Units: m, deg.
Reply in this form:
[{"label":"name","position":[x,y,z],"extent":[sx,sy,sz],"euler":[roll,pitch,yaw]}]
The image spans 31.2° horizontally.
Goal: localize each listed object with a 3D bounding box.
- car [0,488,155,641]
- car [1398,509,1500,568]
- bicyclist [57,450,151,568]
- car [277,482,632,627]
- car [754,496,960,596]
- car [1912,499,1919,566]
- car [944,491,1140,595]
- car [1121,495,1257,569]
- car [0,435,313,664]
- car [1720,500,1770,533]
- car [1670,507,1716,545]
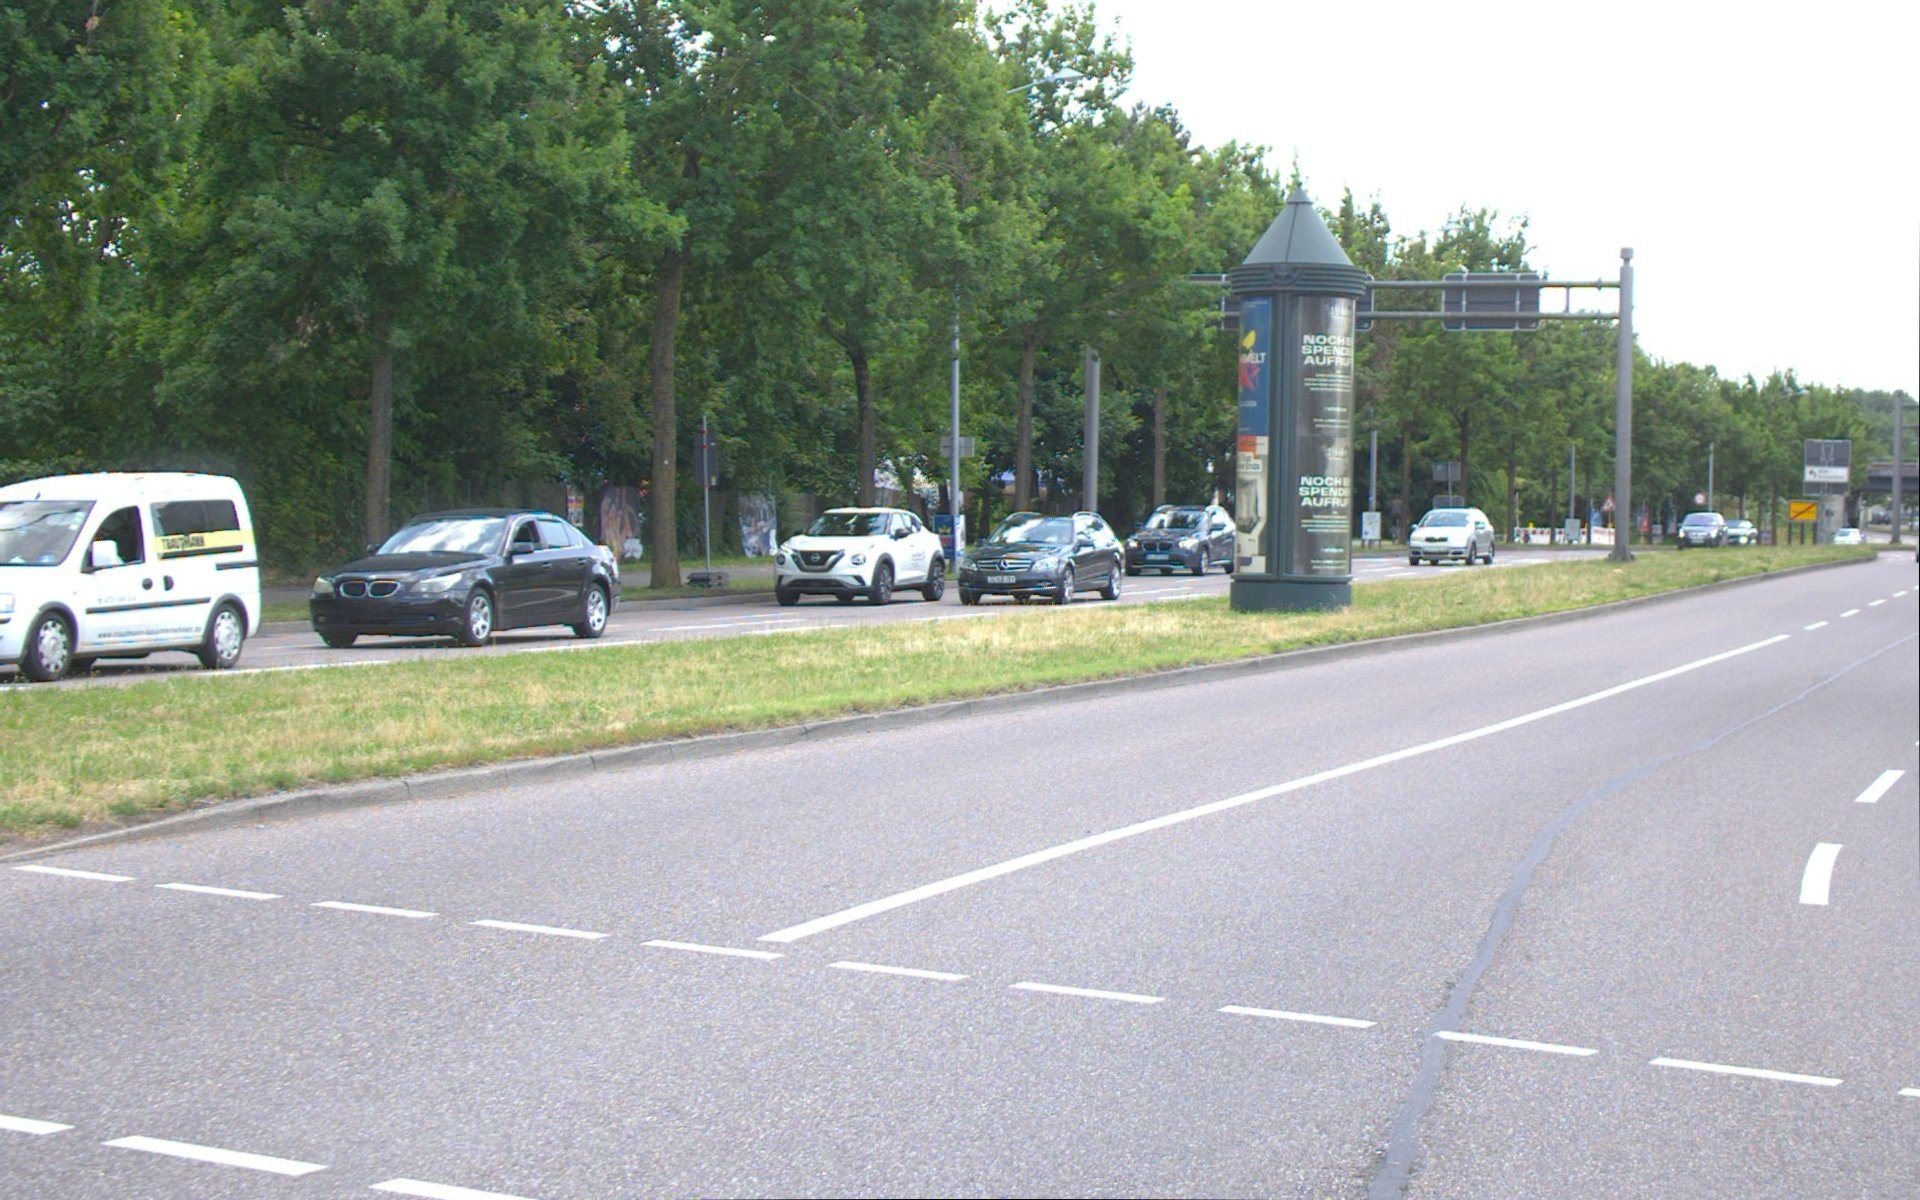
[{"label":"car","position":[-9.786,-0.343,32.804],"extent":[1.840,1.438,4.414],"euler":[0,1,23]},{"label":"car","position":[12.530,-1.596,87.915],"extent":[1.765,1.435,4.305],"euler":[1,2,19]},{"label":"bicyclist","position":[-11.790,-1.255,47.369],"extent":[0.831,1.559,0.883],"euler":[4,2,19]},{"label":"car","position":[-5.414,-0.503,37.476],"extent":[1.839,1.475,4.749],"euler":[0,1,19]},{"label":"car","position":[-1.620,-0.909,55.871],"extent":[1.912,1.535,4.364],"euler":[1,2,19]},{"label":"car","position":[30.403,-2.026,105.695],"extent":[1.995,2.006,3.997],"euler":[3,2,16]},{"label":"car","position":[1.388,-0.948,55.690],"extent":[1.724,1.585,5.009],"euler":[1,2,19]},{"label":"car","position":[5.128,-1.532,76.304],"extent":[1.765,1.571,5.027],"euler":[1,2,19]},{"label":"car","position":[-7.597,-0.440,29.509],"extent":[1.840,1.793,4.783],"euler":[0,1,20]},{"label":"car","position":[37.084,-3.935,162.369],"extent":[1.743,1.540,4.569],"euler":[1,2,20]},{"label":"car","position":[30.240,-3.065,141.811],"extent":[1.742,1.563,4.273],"euler":[0,2,13]}]
